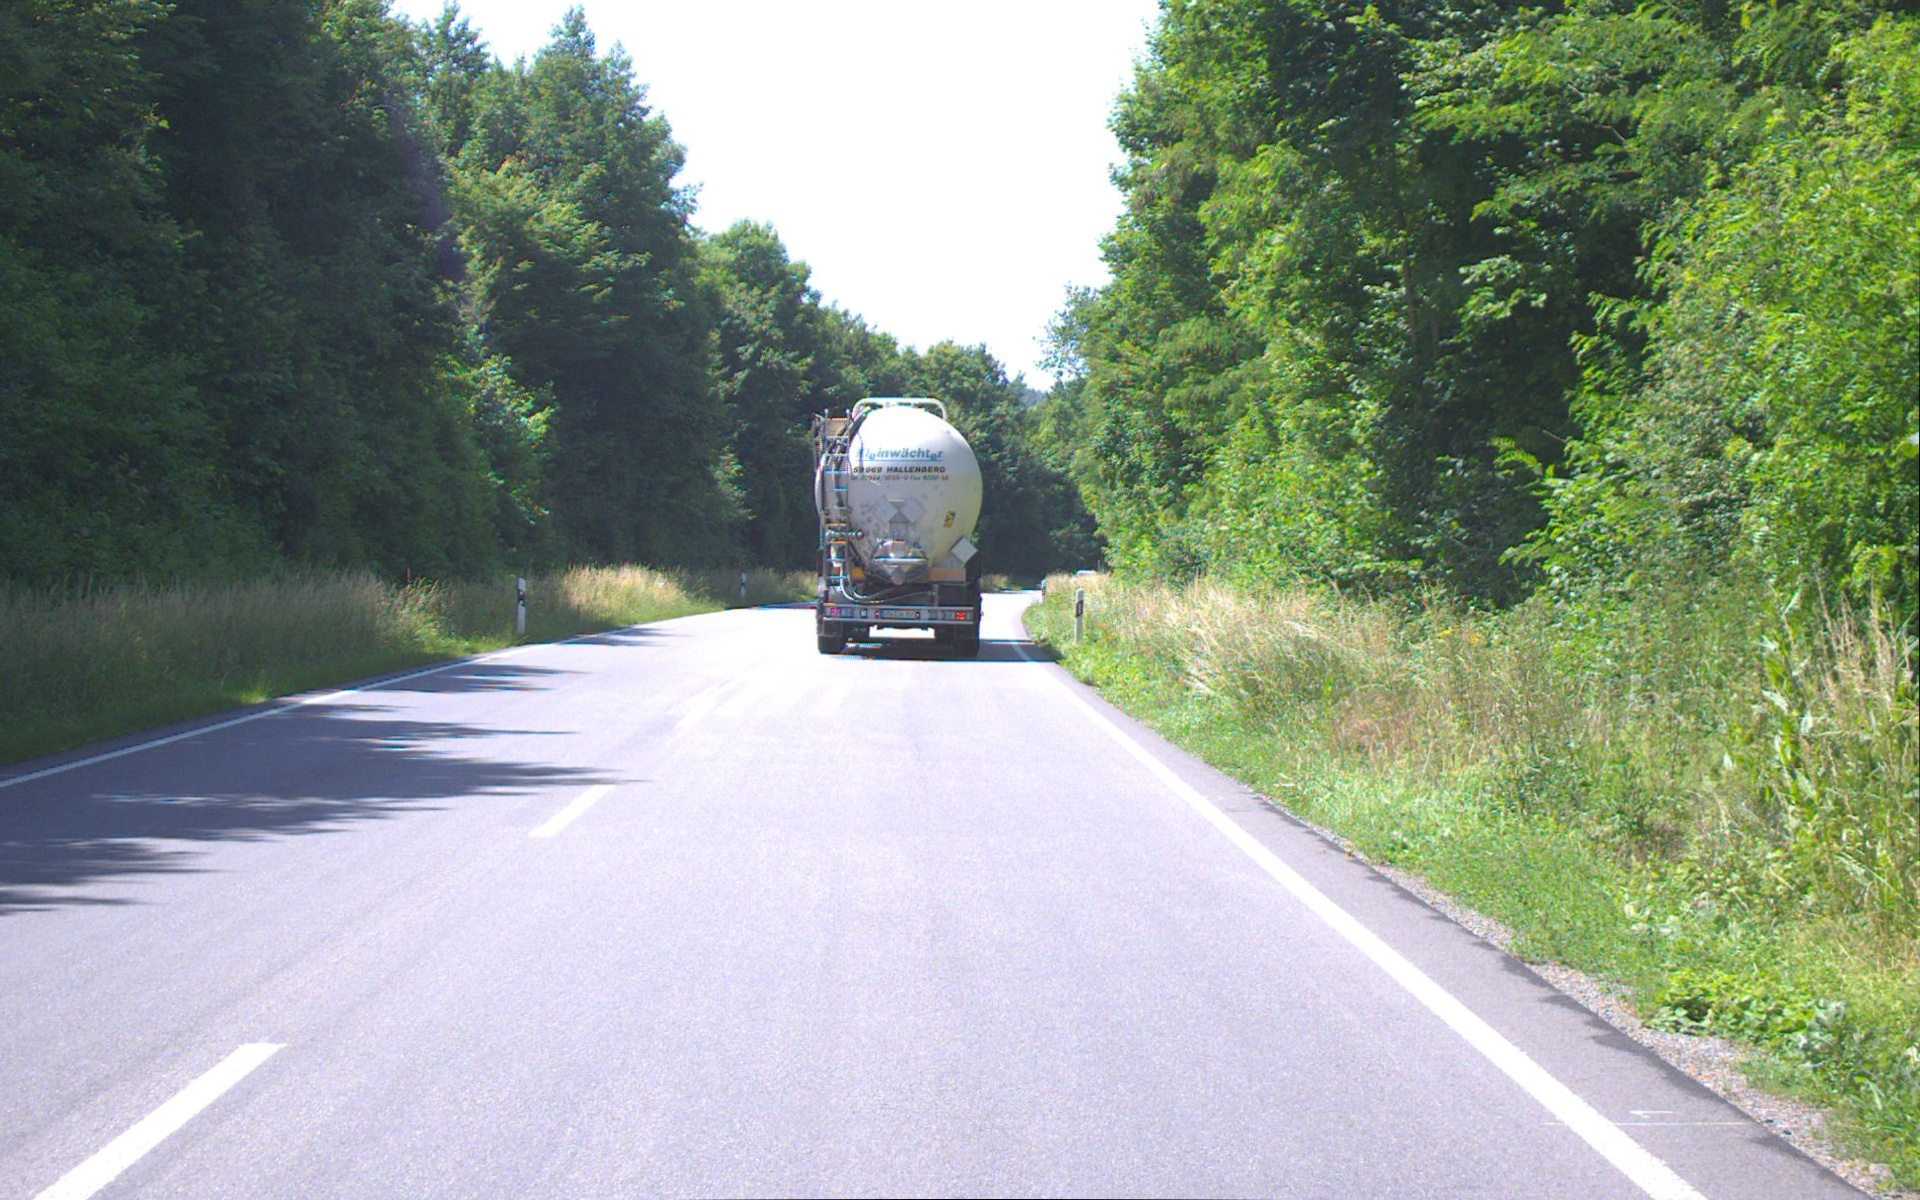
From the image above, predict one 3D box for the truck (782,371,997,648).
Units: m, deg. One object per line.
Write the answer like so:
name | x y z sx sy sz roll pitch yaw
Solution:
truck | -1.195 -1.415 58.610 3.049 3.984 15.637 2 1 -1
